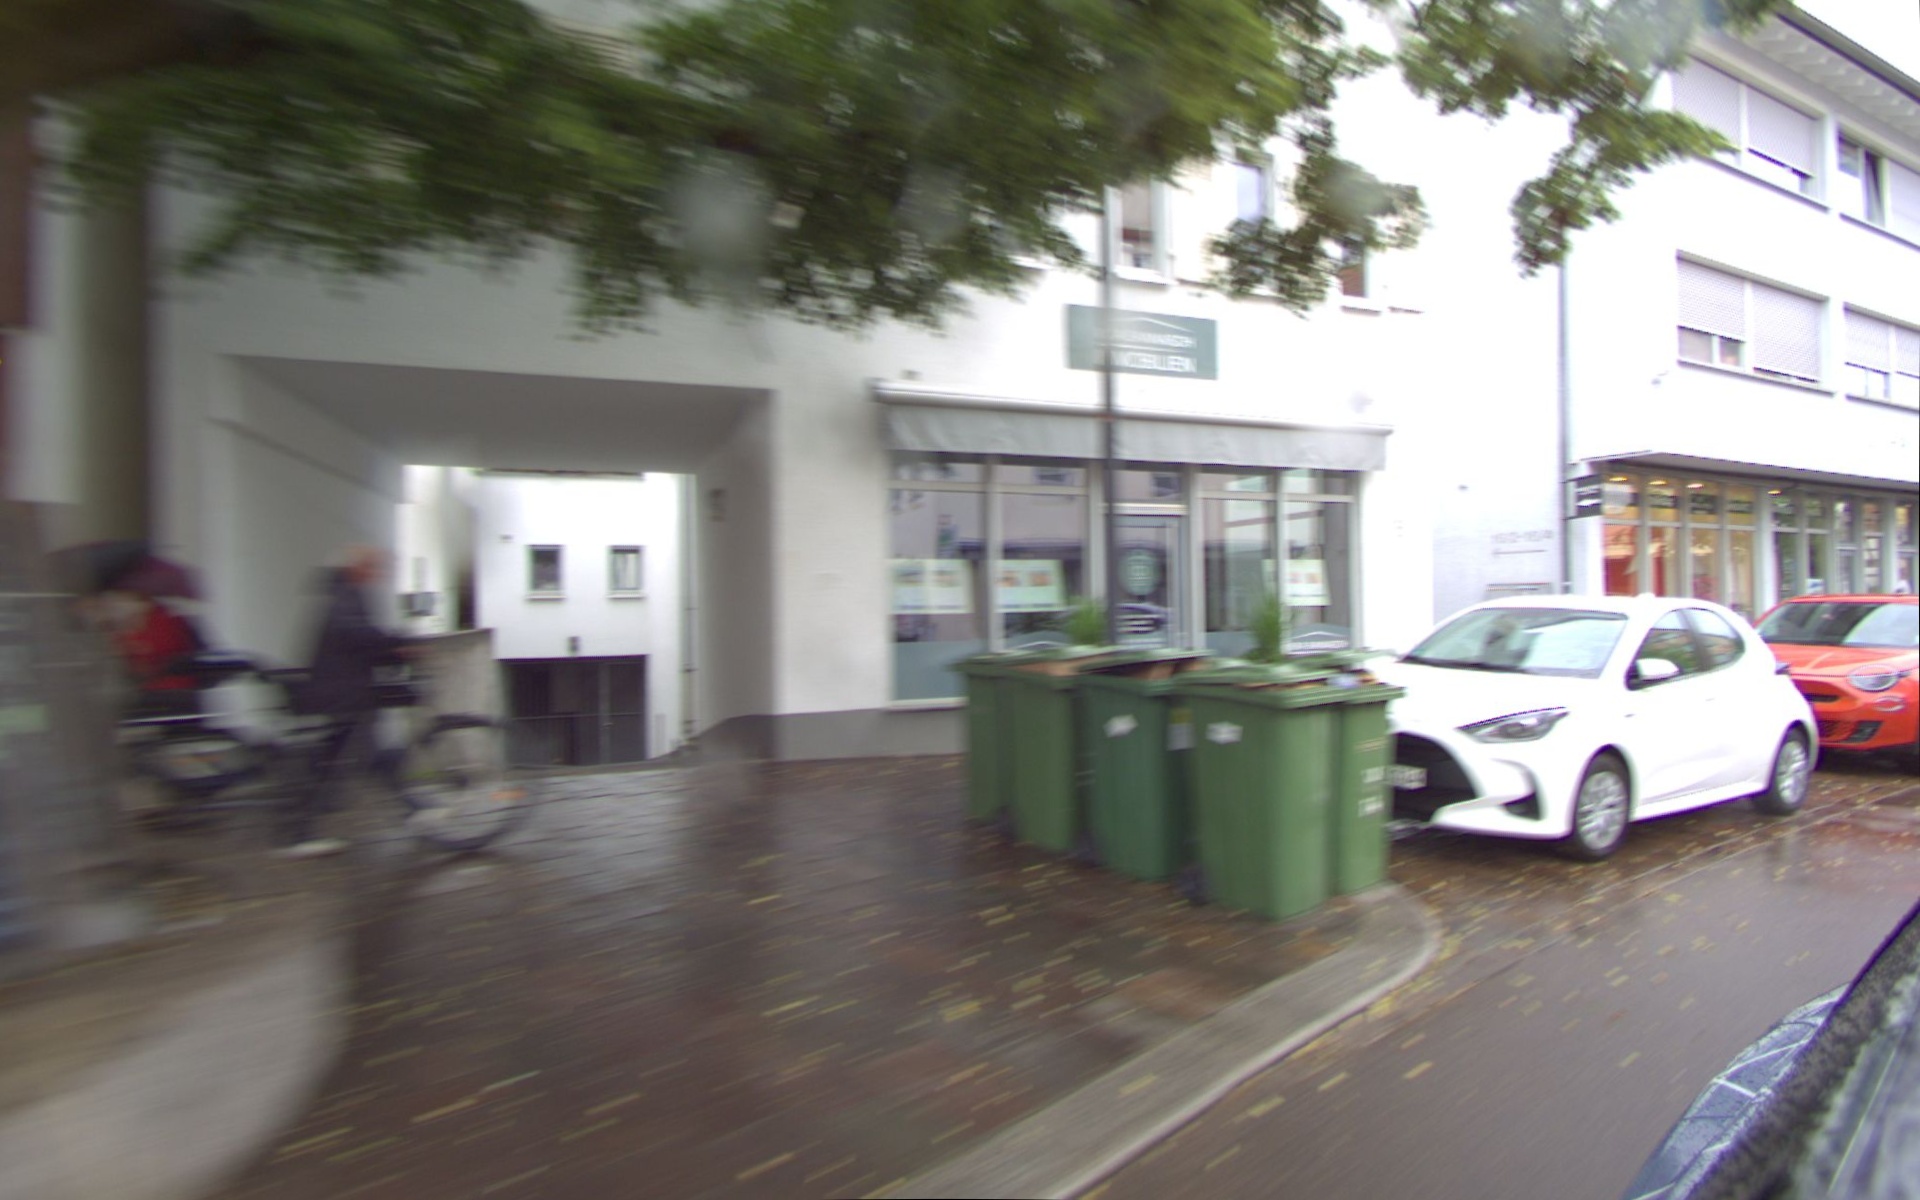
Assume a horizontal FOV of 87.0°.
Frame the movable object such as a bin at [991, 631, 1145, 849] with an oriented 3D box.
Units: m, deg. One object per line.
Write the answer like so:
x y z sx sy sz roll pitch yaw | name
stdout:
0.631 0.771 5.905 0.714 1.145 0.539 0 0 -35 | movable object such as a bin

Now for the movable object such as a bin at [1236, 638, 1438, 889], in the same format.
1.895 0.769 5.111 0.600 1.106 0.726 -2 0 -42 | movable object such as a bin

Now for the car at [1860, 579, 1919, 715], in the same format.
13.387 0.545 12.848 4.353 1.619 1.794 0 -1 -33 | car

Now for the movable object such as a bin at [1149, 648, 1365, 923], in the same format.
1.371 0.795 4.698 0.594 1.096 0.726 -2 0 -42 | movable object such as a bin

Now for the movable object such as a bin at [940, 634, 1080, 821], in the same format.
0.322 0.784 6.539 0.714 1.096 0.539 0 0 -35 | movable object such as a bin

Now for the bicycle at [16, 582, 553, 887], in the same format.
-3.364 0.596 5.346 2.169 1.367 0.930 -1 1 -17 | bicycle

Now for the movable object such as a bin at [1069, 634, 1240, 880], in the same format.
1.026 0.775 5.333 0.714 1.157 0.539 0 0 -35 | movable object such as a bin

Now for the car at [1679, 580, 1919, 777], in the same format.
8.790 0.601 9.741 3.875 1.487 1.793 -3 0 -35 | car

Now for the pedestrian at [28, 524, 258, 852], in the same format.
-4.759 0.456 5.977 0.872 1.735 0.888 -2 0 -30 | pedestrian

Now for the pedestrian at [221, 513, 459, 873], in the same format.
-3.236 0.424 5.393 0.843 1.719 0.915 -1 1 -17 | pedestrian

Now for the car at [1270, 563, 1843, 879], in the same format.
4.123 0.577 6.859 3.872 1.575 1.794 -1 0 -33 | car
